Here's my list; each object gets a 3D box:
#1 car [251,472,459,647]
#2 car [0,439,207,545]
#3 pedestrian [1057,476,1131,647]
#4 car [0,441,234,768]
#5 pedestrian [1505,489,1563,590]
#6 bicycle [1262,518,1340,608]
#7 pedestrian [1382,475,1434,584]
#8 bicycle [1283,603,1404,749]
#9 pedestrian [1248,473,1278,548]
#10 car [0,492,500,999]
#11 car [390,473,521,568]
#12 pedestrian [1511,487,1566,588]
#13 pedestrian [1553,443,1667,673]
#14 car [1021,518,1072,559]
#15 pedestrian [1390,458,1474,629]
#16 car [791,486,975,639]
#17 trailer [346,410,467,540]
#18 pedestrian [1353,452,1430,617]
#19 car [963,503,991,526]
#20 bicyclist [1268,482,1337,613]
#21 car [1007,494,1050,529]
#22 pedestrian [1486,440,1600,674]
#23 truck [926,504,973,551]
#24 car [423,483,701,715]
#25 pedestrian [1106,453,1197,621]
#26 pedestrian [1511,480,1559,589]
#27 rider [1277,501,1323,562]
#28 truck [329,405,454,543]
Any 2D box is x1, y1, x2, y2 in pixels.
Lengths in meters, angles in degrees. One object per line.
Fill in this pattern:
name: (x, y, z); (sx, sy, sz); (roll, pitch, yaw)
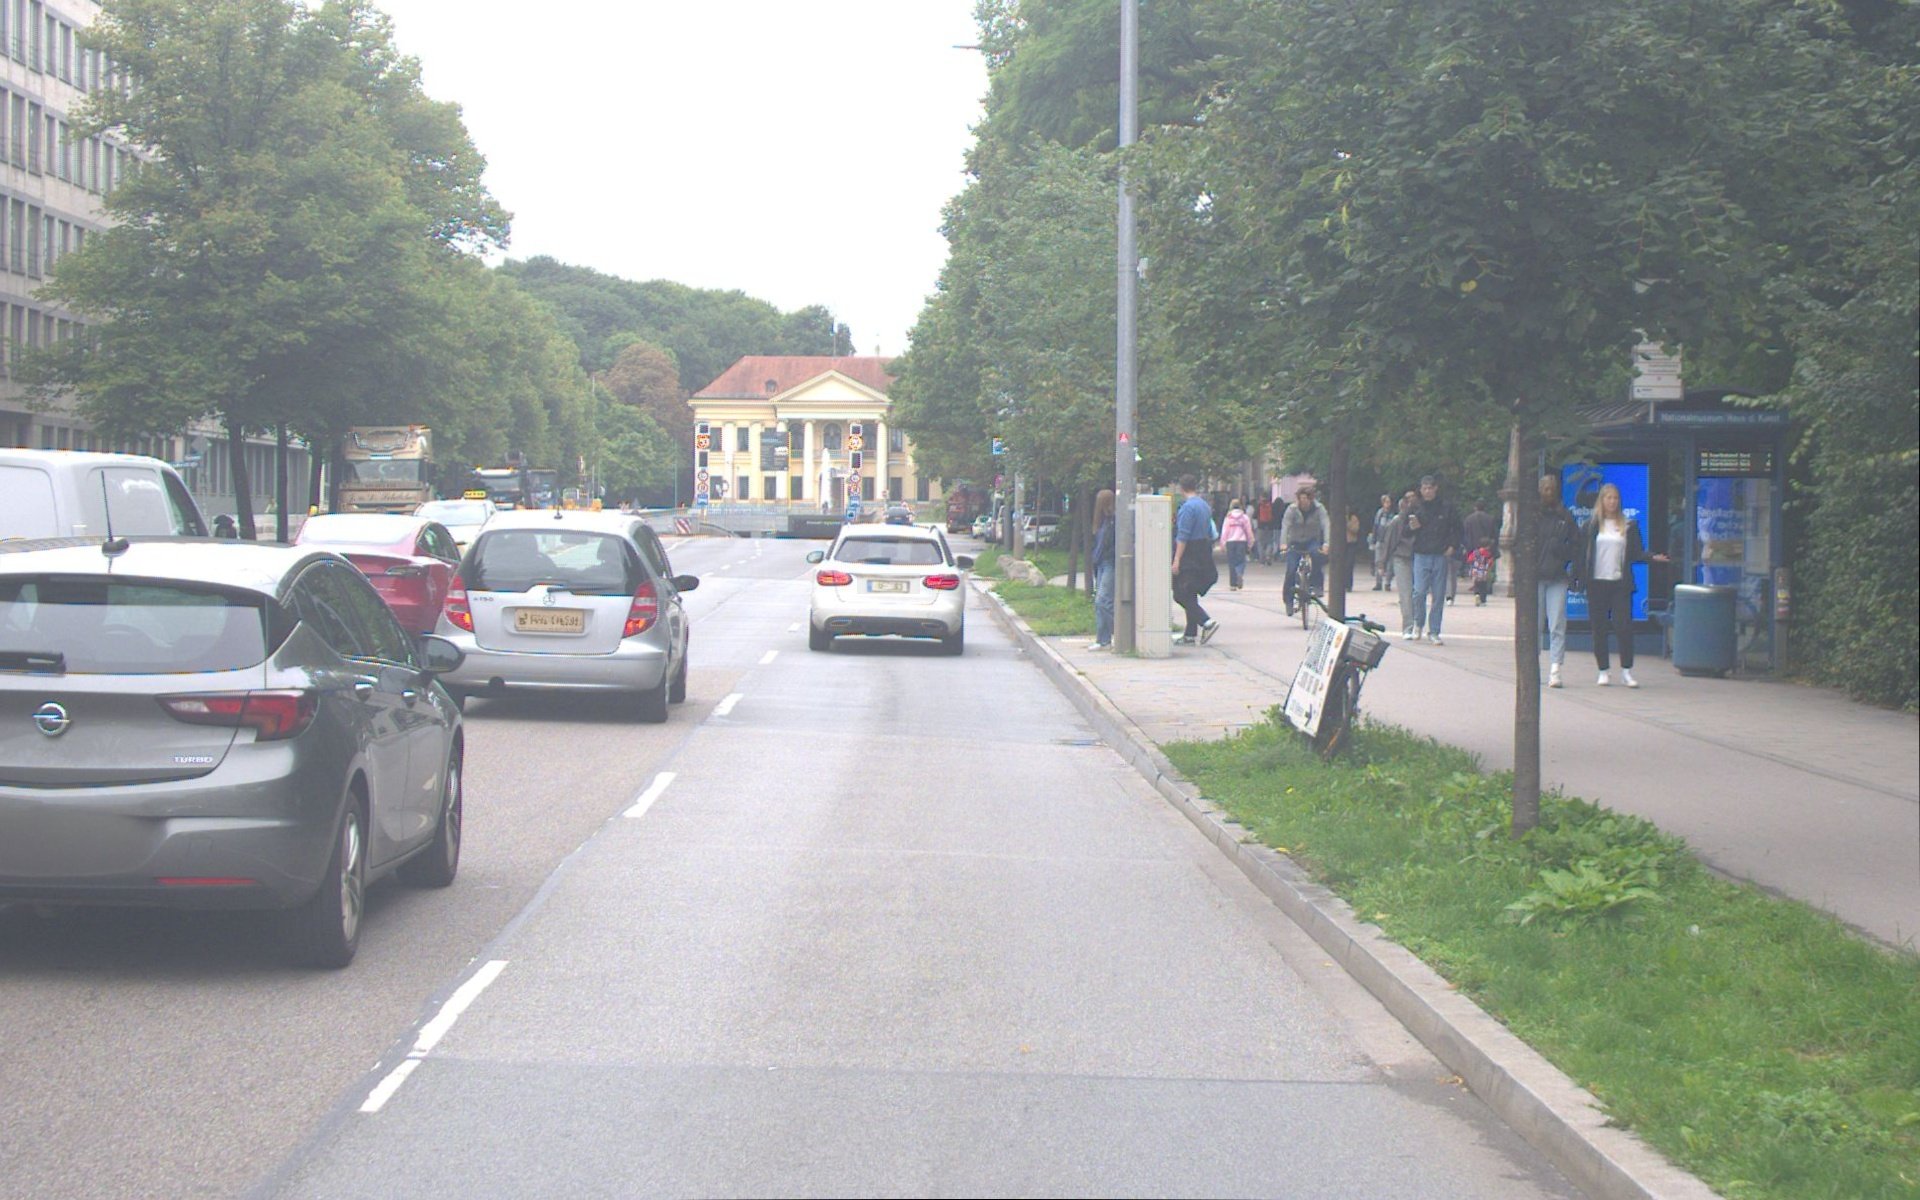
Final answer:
car: (-6.168, -0.462, 35.402); (1.779, 1.648, 4.001); (2, 2, -6)
car: (-21.434, -2.655, 84.001); (5.679, 2.527, 2.157); (0, 2, -5)
pedestrian: (1.433, -0.418, 36.861); (0.708, 1.802, 0.639); (2, 2, -1)
car: (-6.024, -0.047, 21.823); (1.898, 1.841, 4.956); (0, 2, -1)
pedestrian: (9.808, -1.034, 58.767); (0.812, 1.685, 0.729); (2, 2, 2)
bicycle: (4.109, -0.459, 41.583); (0.675, 1.027, 2.013); (2, 2, -1)
pedestrian: (7.034, -1.116, 54.012); (0.726, 1.685, 0.648); (2, 2, 4)
bicycle: (2.373, 0.455, 21.437); (0.493, 0.791, 1.890); (2, 2, -1)
pedestrian: (7.439, -2.204, 84.494); (0.588, 1.816, 0.850); (2, 2, 0)
car: (-2.867, 0.400, 12.879); (1.710, 1.546, 4.000); (2, 2, 0)
car: (-9.722, -1.566, 66.572); (1.857, 1.742, 4.630); (-1, 2, -1)
pedestrian: (9.723, -1.055, 57.782); (0.812, 1.685, 0.729); (0, 2, 2)
pedestrian: (5.532, -0.367, 29.306); (0.708, 1.908, 0.956); (2, 2, -1)
car: (3.345, -2.407, 133.866); (1.827, 1.544, 4.752); (0, 2, 0)
pedestrian: (5.105, -0.619, 37.238); (0.708, 1.802, 0.950); (2, 2, -1)
car: (-0.956, -0.479, 40.362); (1.779, 1.639, 4.001); (2, 2, -6)
trailer: (-17.137, -3.884, 107.109); (2.949, 3.727, 11.774); (2, 2, -6)
pedestrian: (4.801, -0.730, 38.257); (0.708, 1.802, 0.639); (2, 2, -1)
car: (1.065, -5.447, 218.802); (1.724, 1.319, 4.028); (0, 3, 0)
bicyclist: (4.150, -0.641, 41.661); (0.708, 1.556, 0.639); (2, 2, -1)
car: (2.896, -3.764, 145.989); (1.724, 1.459, 4.776); (0, 2, 0)
pedestrian: (4.872, -0.367, 28.788); (0.708, 1.908, 0.956); (2, 2, -1)
truck: (-0.826, -5.431, 256.278); (3.325, 3.355, 8.663); (2, 2, -1)
car: (-3.063, -0.073, 27.158); (1.779, 1.648, 4.001); (2, 2, -2)
pedestrian: (2.170, -0.717, 39.032); (0.805, 1.874, 0.543); (3, 2, 35)
pedestrian: (9.055, -1.040, 54.155); (0.591, 1.685, 0.729); (2, 2, 2)
rider: (6.360, -1.294, 64.364); (0.765, 1.108, 1.244); (2, 2, 4)
truck: (-16.431, -3.646, 99.869); (2.915, 3.761, 7.668); (2, 2, -5)
